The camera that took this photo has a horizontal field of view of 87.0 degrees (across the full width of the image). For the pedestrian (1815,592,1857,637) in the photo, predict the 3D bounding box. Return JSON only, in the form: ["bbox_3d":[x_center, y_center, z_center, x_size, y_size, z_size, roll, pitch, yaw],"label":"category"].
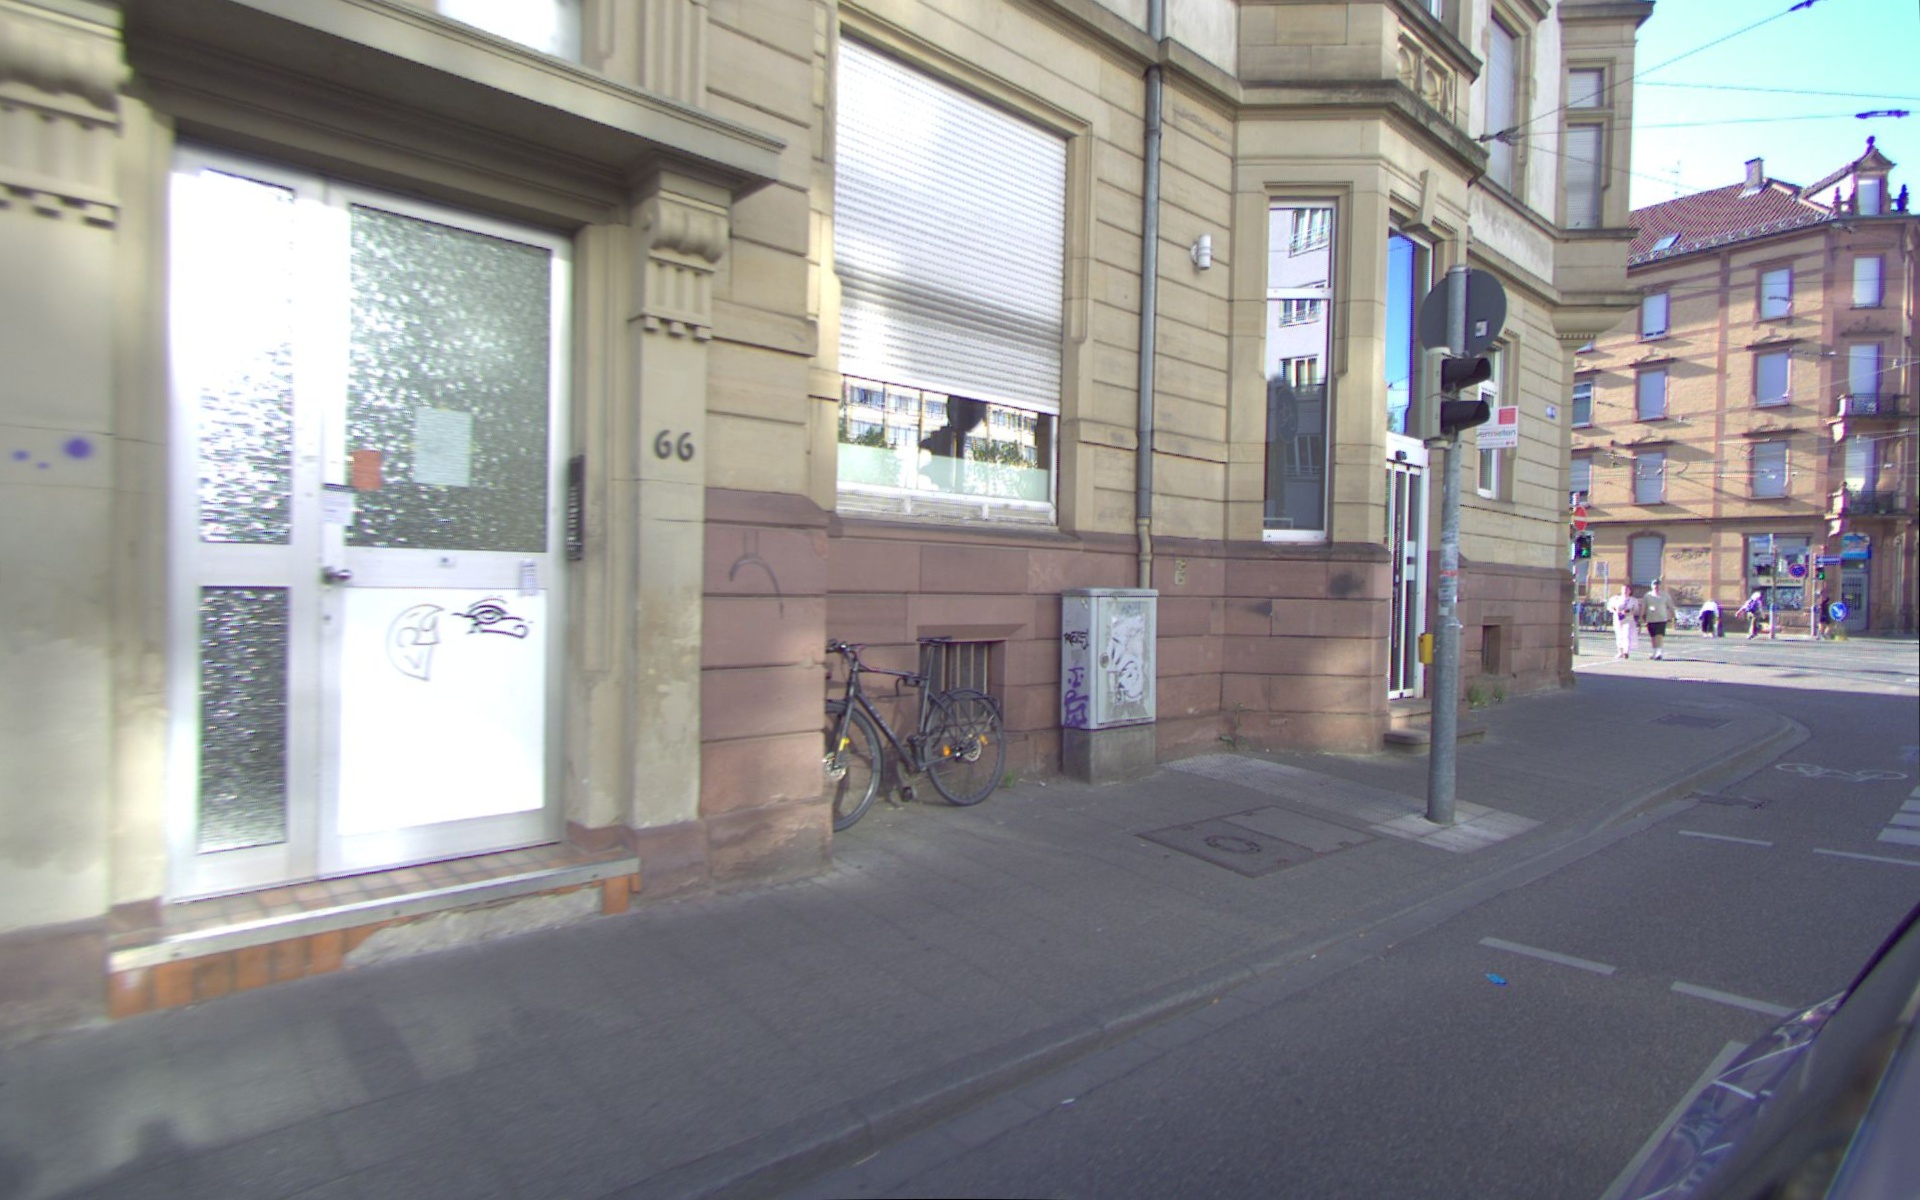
[{"bbox_3d":[31.203,0.497,36.039,0.922,1.556,0.636,0,2,-9],"label":"pedestrian"}]

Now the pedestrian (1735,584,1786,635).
[{"bbox_3d":[27.012,0.315,34.155,0.907,1.652,0.943,0,2,-5],"label":"pedestrian"}]

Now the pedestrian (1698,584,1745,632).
[{"bbox_3d":[26.988,0.271,35.880,0.910,1.652,1.007,1,2,9],"label":"pedestrian"}]

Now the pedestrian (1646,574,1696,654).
[{"bbox_3d":[15.510,0.287,22.089,0.620,1.675,0.702,-1,3,-38],"label":"pedestrian"}]

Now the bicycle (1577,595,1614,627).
[{"bbox_3d":[25.605,0.447,40.755,2.272,1.225,0.649,1,1,-43],"label":"bicycle"}]

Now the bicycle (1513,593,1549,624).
[{"bbox_3d":[23.850,0.354,42.261,2.272,1.225,0.649,1,1,-43],"label":"bicycle"}]

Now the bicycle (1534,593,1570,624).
[{"bbox_3d":[24.491,0.378,41.849,2.272,1.225,0.649,1,1,-43],"label":"bicycle"}]

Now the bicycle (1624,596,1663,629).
[{"bbox_3d":[26.289,0.482,38.910,2.272,1.225,0.752,1,1,-43],"label":"bicycle"}]

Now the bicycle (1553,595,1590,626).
[{"bbox_3d":[24.983,0.429,41.331,2.272,1.225,0.649,1,1,-43],"label":"bicycle"}]

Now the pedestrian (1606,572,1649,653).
[{"bbox_3d":[14.983,0.270,22.706,0.693,1.767,0.644,-1,1,-42],"label":"pedestrian"}]

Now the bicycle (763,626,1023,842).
[{"bbox_3d":[-0.336,0.723,6.013,1.738,1.065,0.256,-2,1,-41],"label":"bicycle"}]

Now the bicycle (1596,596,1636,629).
[{"bbox_3d":[25.889,0.484,39.920,2.272,1.224,0.752,0,2,-43],"label":"bicycle"}]
